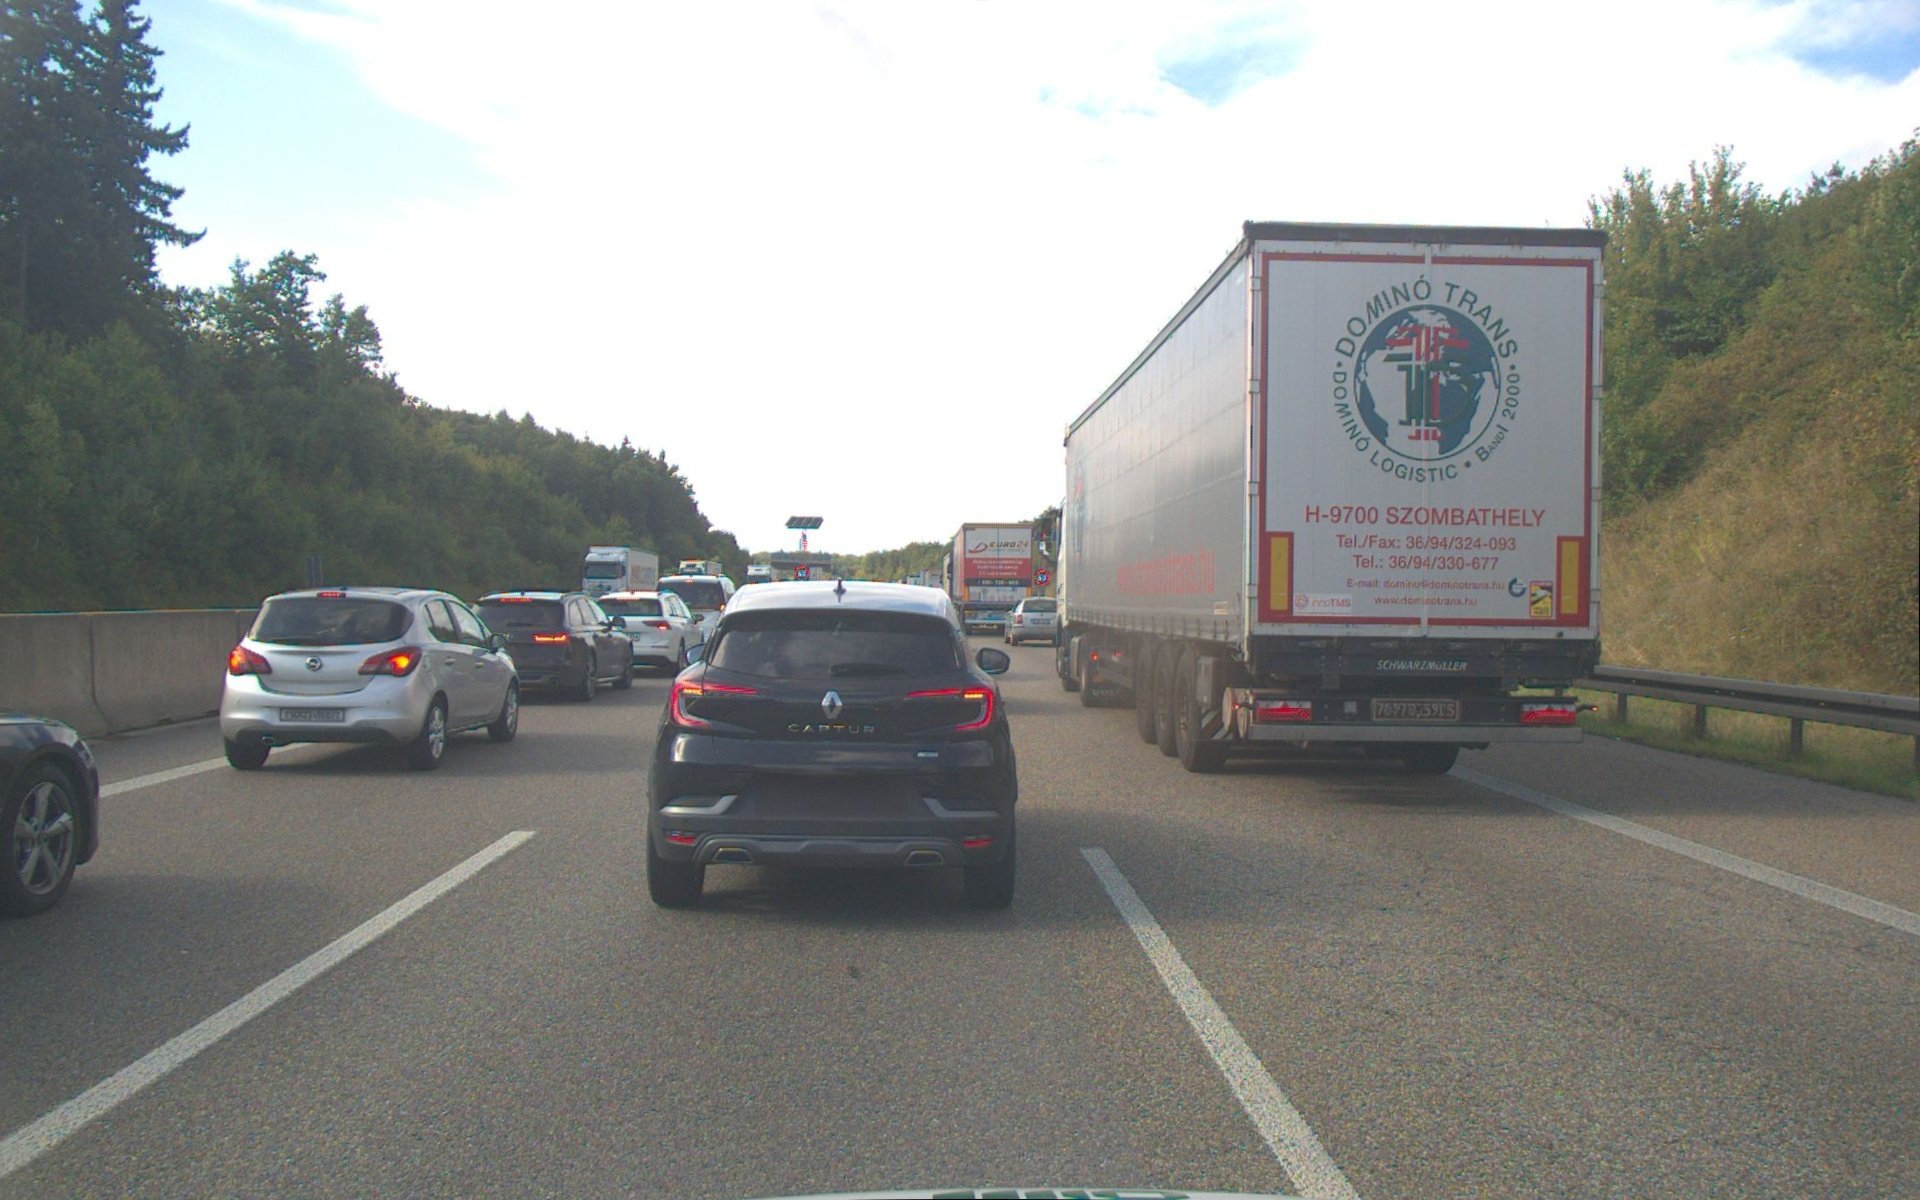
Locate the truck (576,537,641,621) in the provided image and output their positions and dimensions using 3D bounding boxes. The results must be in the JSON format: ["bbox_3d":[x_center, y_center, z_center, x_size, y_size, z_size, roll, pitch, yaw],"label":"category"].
[{"bbox_3d":[-23.151,-1.318,109.271,2.978,5.344,6.880,1,0,-2],"label":"truck"}]

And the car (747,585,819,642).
[{"bbox_3d":[-5.718,0.441,53.726,1.953,1.752,3.999,1,0,-1],"label":"car"}]

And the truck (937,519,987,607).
[{"bbox_3d":[0.067,-2.343,112.805,3.102,5.601,12.734,1,0,-1],"label":"truck"}]

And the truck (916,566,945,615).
[{"bbox_3d":[-3.299,-0.989,184.715,3.102,5.250,12.734,1,0,-1],"label":"truck"}]

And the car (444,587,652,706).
[{"bbox_3d":[-5.641,0.574,23.247,1.805,1.481,4.746,1,0,-1],"label":"car"}]

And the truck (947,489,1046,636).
[{"bbox_3d":[1.246,-1.306,64.891,3.296,5.132,12.734,1,0,-1],"label":"truck"}]

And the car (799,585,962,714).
[{"bbox_3d":[-1.004,0.609,22.119,1.953,1.540,3.999,1,0,-1],"label":"car"}]

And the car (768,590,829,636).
[{"bbox_3d":[-6.074,0.476,62.501,1.953,1.641,3.999,1,0,-1],"label":"car"}]

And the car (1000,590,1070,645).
[{"bbox_3d":[2.233,0.510,50.157,1.768,1.559,3.923,1,0,-3],"label":"car"}]

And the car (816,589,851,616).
[{"bbox_3d":[-7.930,0.141,104.013,1.953,1.641,3.999,1,0,-1],"label":"car"}]

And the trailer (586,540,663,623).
[{"bbox_3d":[-23.366,-1.190,115.946,2.981,5.373,13.829,1,0,-2],"label":"trailer"}]

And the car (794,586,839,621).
[{"bbox_3d":[-7.118,0.160,82.213,1.953,1.641,3.999,1,0,-1],"label":"car"}]

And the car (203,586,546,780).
[{"bbox_3d":[-5.001,0.621,14.728,1.711,1.491,4.039,0,0,-2],"label":"car"}]

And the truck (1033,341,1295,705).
[{"bbox_3d":[2.818,-1.021,24.712,2.937,4.749,5.937,1,0,-2],"label":"truck"}]

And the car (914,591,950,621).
[{"bbox_3d":[-1.593,0.321,94.136,1.953,1.641,3.999,1,0,-1],"label":"car"}]

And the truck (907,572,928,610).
[{"bbox_3d":[-6.464,-1.297,253.491,3.102,5.601,12.734,1,0,-1],"label":"truck"}]

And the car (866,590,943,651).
[{"bbox_3d":[-1.474,0.549,44.659,1.953,1.540,3.999,1,0,-1],"label":"car"}]

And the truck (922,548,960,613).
[{"bbox_3d":[-1.622,-1.658,150.539,3.101,5.601,12.737,1,0,0],"label":"truck"}]

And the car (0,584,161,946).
[{"bbox_3d":[-4.891,0.679,5.801,1.844,1.497,4.851,1,0,-1],"label":"car"}]

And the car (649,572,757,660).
[{"bbox_3d":[-5.676,0.346,36.964,1.873,1.821,4.415,1,0,-3],"label":"car"}]

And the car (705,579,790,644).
[{"bbox_3d":[-5.738,0.307,44.984,1.818,1.669,3.925,1,0,-1],"label":"car"}]

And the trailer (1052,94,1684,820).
[{"bbox_3d":[3.081,-0.969,17.565,2.942,4.742,13.284,1,0,-2],"label":"trailer"}]

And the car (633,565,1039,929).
[{"bbox_3d":[-0.519,0.642,9.241,1.767,1.579,4.000,0,0,1],"label":"car"}]

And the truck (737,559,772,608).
[{"bbox_3d":[-22.552,-1.764,181.884,3.026,5.190,7.138,1,0,-2],"label":"truck"}]

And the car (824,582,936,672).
[{"bbox_3d":[-1.451,0.485,31.174,1.953,1.540,3.999,1,0,-1],"label":"car"}]

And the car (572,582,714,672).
[{"bbox_3d":[-5.640,0.455,29.914,1.768,1.486,4.308,1,0,-1],"label":"car"}]

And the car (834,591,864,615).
[{"bbox_3d":[-7.936,0.191,118.444,1.953,1.641,3.999,1,0,-1],"label":"car"}]

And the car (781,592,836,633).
[{"bbox_3d":[-6.306,0.504,69.230,1.953,1.641,3.999,1,0,-1],"label":"car"}]

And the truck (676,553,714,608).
[{"bbox_3d":[-24.505,-1.728,153.059,2.873,4.943,4.763,1,0,-2],"label":"truck"}]
